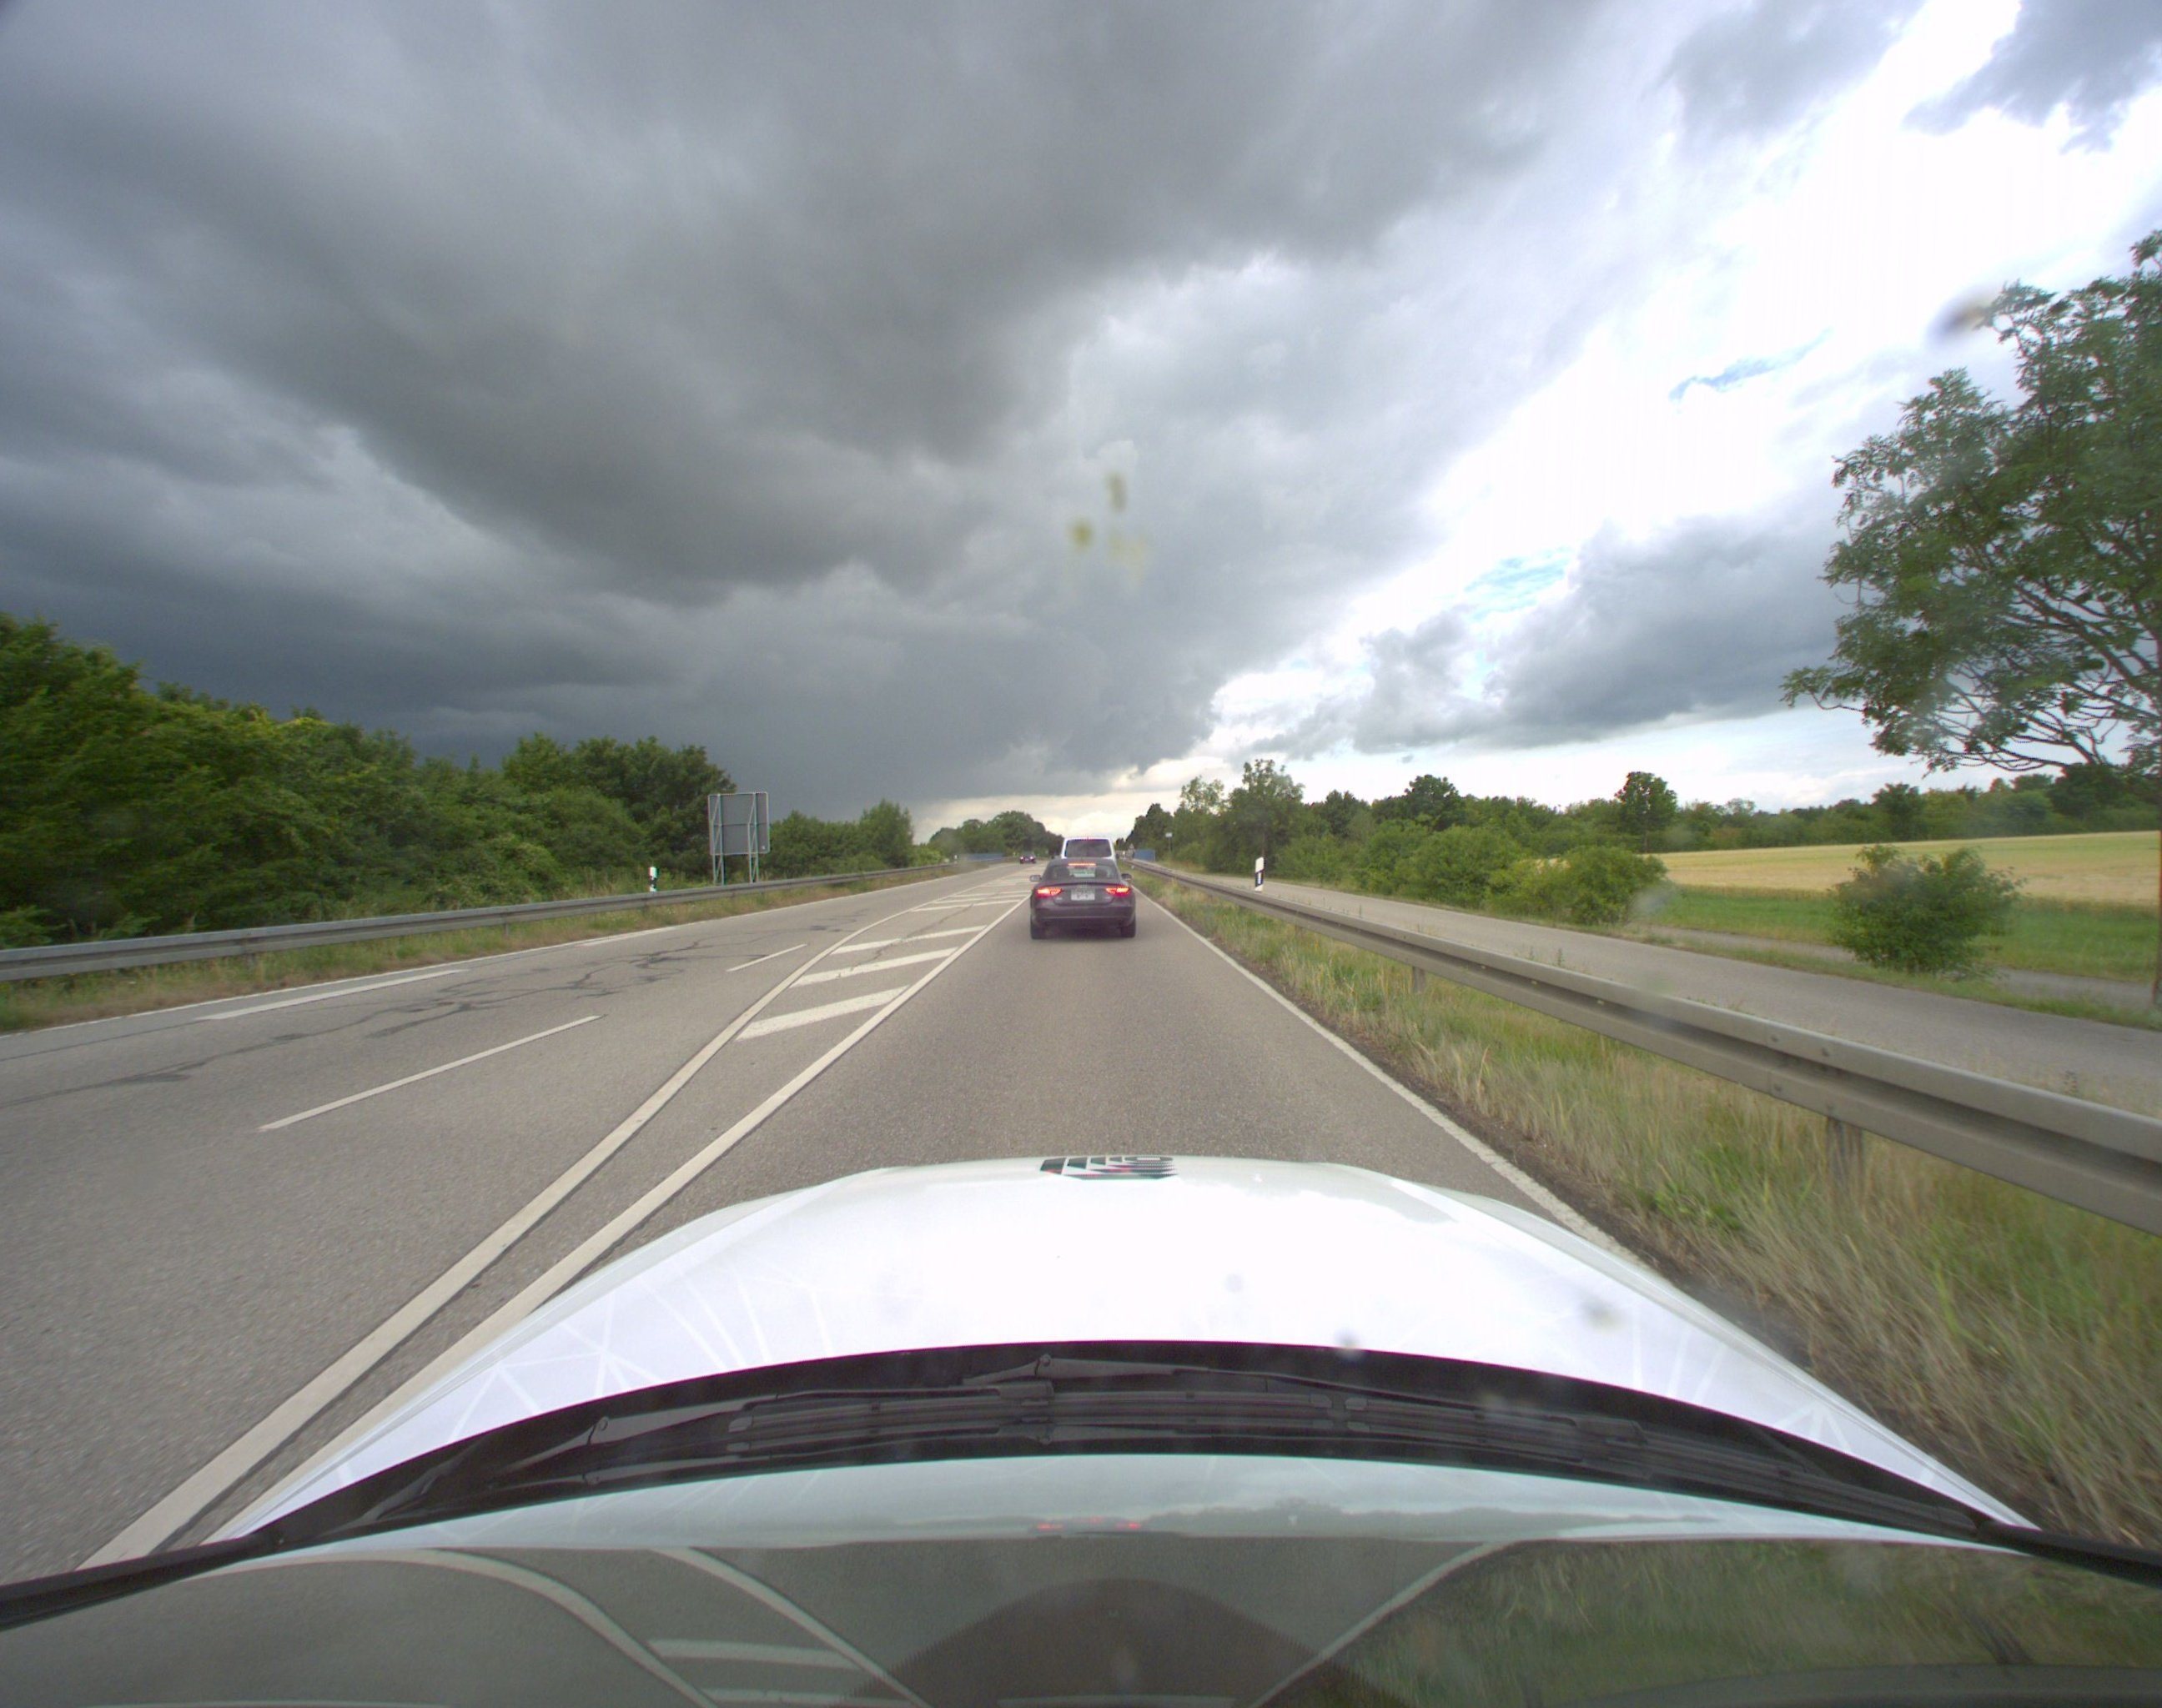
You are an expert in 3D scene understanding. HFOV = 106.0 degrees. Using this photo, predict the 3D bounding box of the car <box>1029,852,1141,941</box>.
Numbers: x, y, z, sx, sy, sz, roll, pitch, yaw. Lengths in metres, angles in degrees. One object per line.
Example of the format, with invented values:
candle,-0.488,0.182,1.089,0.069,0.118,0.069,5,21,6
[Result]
car,0.078,0.695,15.160,1.780,1.424,4.000,-1,0,0

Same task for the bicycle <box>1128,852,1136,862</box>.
bicycle,4.991,0.297,79.455,0.663,0.920,1.830,-2,0,0

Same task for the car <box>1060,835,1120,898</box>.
car,0.280,0.398,26.627,1.780,1.890,4.000,-1,0,0

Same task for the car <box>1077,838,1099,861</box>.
car,0.801,-0.534,93.618,2.439,2.504,5.042,-1,0,1

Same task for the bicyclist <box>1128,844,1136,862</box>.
bicyclist,4.972,-0.097,79.524,0.645,1.645,0.866,-2,0,0

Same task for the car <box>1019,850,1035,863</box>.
car,-6.344,0.277,96.251,1.858,1.376,3.996,-1,0,-3
